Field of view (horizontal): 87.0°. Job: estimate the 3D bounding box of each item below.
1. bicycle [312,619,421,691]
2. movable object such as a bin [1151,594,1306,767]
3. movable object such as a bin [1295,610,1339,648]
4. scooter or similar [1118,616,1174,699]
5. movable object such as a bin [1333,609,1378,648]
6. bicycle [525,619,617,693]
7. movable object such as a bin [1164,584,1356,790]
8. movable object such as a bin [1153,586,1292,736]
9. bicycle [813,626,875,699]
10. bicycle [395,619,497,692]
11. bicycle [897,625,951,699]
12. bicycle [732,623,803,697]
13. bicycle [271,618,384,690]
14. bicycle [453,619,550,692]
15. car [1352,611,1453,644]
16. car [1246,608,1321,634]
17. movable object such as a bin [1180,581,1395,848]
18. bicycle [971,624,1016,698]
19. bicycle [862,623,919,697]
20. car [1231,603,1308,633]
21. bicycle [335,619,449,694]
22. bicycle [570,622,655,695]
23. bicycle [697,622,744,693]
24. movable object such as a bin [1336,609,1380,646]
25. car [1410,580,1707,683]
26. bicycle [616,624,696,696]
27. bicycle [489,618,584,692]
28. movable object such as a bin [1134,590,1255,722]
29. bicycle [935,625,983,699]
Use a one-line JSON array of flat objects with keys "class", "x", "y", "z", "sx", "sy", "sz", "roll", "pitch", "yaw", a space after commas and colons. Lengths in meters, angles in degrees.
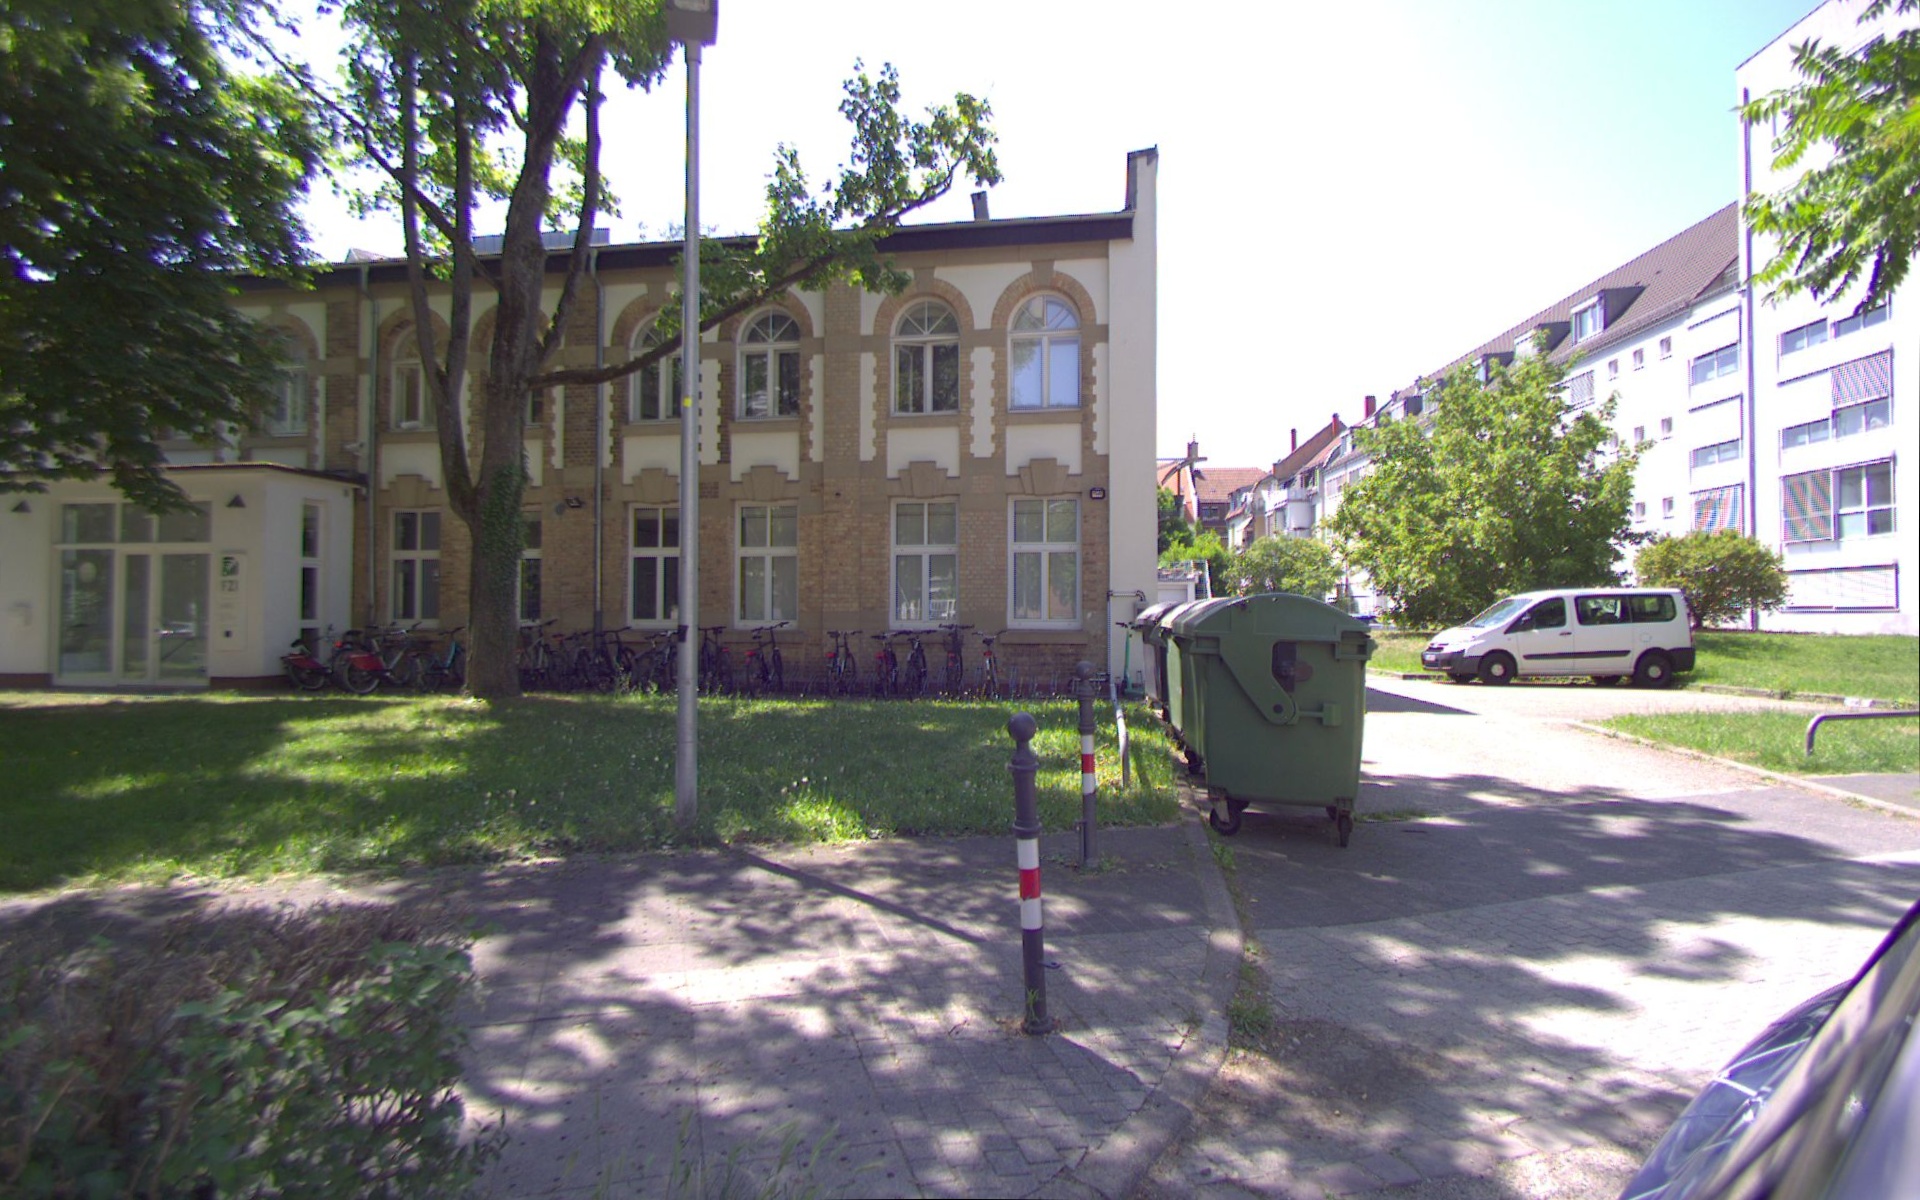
[{"class": "bicycle", "x": -10.163, "y": 0.908, "z": 17.410, "sx": 0.580, "sy": 1.157, "sz": 1.836, "roll": 0, "pitch": -1, "yaw": 10}, {"class": "movable object such as a bin", "x": 2.446, "y": 0.693, "z": 9.436, "sx": 1.162, "sy": 1.488, "sz": 1.310, "roll": -1, "pitch": 0, "yaw": 5}, {"class": "movable object such as a bin", "x": 12.596, "y": 1.019, "z": 35.759, "sx": 1.238, "sy": 1.345, "sz": 1.101, "roll": -1, "pitch": -1, "yaw": 9}, {"class": "scooter or similar", "x": 2.820, "y": 0.854, "z": 15.468, "sx": 0.455, "sy": 1.189, "sz": 1.258, "roll": 0, "pitch": -1, "yaw": -8}, {"class": "movable object such as a bin", "x": 13.876, "y": 1.003, "z": 35.520, "sx": 1.238, "sy": 1.345, "sz": 1.101, "roll": -1, "pitch": -1, "yaw": 9}, {"class": "bicycle", "x": -6.485, "y": 0.904, "z": 16.973, "sx": 0.580, "sy": 1.157, "sz": 1.836, "roll": 0, "pitch": -1, "yaw": 10}, {"class": "movable object such as a bin", "x": 2.306, "y": 0.632, "z": 8.002, "sx": 1.161, "sy": 1.488, "sz": 1.310, "roll": -1, "pitch": 0, "yaw": 4}, {"class": "movable object such as a bin", "x": 2.748, "y": 0.606, "z": 10.785, "sx": 1.161, "sy": 1.488, "sz": 1.310, "roll": -1, "pitch": 0, "yaw": 3}, {"class": "bicycle", "x": -1.829, "y": 0.969, "z": 16.200, "sx": 0.496, "sy": 1.082, "sz": 1.829, "roll": 0, "pitch": -1, "yaw": 10}, {"class": "bicycle", "x": -8.760, "y": 0.920, "z": 17.338, "sx": 0.580, "sy": 1.157, "sz": 1.836, "roll": 0, "pitch": -1, "yaw": 10}, {"class": "bicycle", "x": -0.544, "y": 0.947, "z": 15.992, "sx": 0.496, "sy": 1.081, "sz": 1.829, "roll": 0, "pitch": -1, "yaw": 10}, {"class": "bicycle", "x": -3.088, "y": 0.935, "z": 16.388, "sx": 0.514, "sy": 1.118, "sz": 1.829, "roll": 0, "pitch": -2, "yaw": 10}, {"class": "bicycle", "x": -10.895, "y": 0.898, "z": 17.497, "sx": 0.580, "sy": 1.157, "sz": 1.836, "roll": 0, "pitch": -1, "yaw": 10}, {"class": "bicycle", "x": -7.736, "y": 0.904, "z": 17.167, "sx": 0.580, "sy": 1.157, "sz": 1.836, "roll": 0, "pitch": -1, "yaw": 10}, {"class": "car", "x": 20.529, "y": 1.277, "z": 47.025, "sx": 3.930, "sy": 1.455, "sz": 1.708, "roll": 1, "pitch": -1, "yaw": 6}, {"class": "car", "x": 19.977, "y": 1.301, "z": 62.588, "sx": 4.095, "sy": 1.573, "sz": 1.857, "roll": 0, "pitch": -1, "yaw": 5}, {"class": "movable object such as a bin", "x": 2.097, "y": 0.635, "z": 6.480, "sx": 1.168, "sy": 1.488, "sz": 1.324, "roll": -1, "pitch": 0, "yaw": 20}, {"class": "bicycle", "x": 0.544, "y": 0.920, "z": 15.866, "sx": 0.447, "sy": 1.081, "sz": 1.829, "roll": 0, "pitch": -1, "yaw": 10}, {"class": "bicycle", "x": -1.088, "y": 0.924, "z": 16.130, "sx": 0.496, "sy": 1.081, "sz": 1.829, "roll": 0, "pitch": -1, "yaw": 10}, {"class": "car", "x": 19.924, "y": 1.145, "z": 65.299, "sx": 4.374, "sy": 1.855, "sz": 1.996, "roll": -1, "pitch": -1, "yaw": 7}, {"class": "bicycle", "x": -9.521, "y": 0.917, "z": 17.049, "sx": 0.581, "sy": 1.157, "sz": 1.833, "roll": -1, "pitch": -1, "yaw": 14}, {"class": "bicycle", "x": -5.735, "y": 0.940, "z": 16.793, "sx": 0.514, "sy": 1.114, "sz": 1.836, "roll": 0, "pitch": -1, "yaw": 10}, {"class": "bicycle", "x": -3.998, "y": 0.927, "z": 16.829, "sx": 0.462, "sy": 1.118, "sz": 1.838, "roll": 1, "pitch": -2, "yaw": -22}, {"class": "movable object such as a bin", "x": 14.631, "y": 1.015, "z": 37.231, "sx": 1.238, "sy": 1.345, "sz": 1.101, "roll": -1, "pitch": -1, "yaw": 9}, {"class": "car", "x": 11.955, "y": 0.627, "z": 20.517, "sx": 4.718, "sy": 1.936, "sz": 1.997, "roll": 0, "pitch": -2, "yaw": 5}, {"class": "bicycle", "x": -4.981, "y": 0.956, "z": 16.690, "sx": 0.514, "sy": 1.084, "sz": 1.830, "roll": 0, "pitch": -1, "yaw": 10}, {"class": "bicycle", "x": -7.105, "y": 0.893, "z": 17.074, "sx": 0.580, "sy": 1.157, "sz": 1.836, "roll": 0, "pitch": -1, "yaw": 10}, {"class": "movable object such as a bin", "x": 2.858, "y": 0.645, "z": 12.522, "sx": 1.137, "sy": 1.524, "sz": 1.462, "roll": -1, "pitch": 0, "yaw": 0}, {"class": "bicycle", "x": 0.005, "y": 0.944, "z": 15.934, "sx": 0.447, "sy": 1.081, "sz": 1.829, "roll": 0, "pitch": -1, "yaw": 10}]
